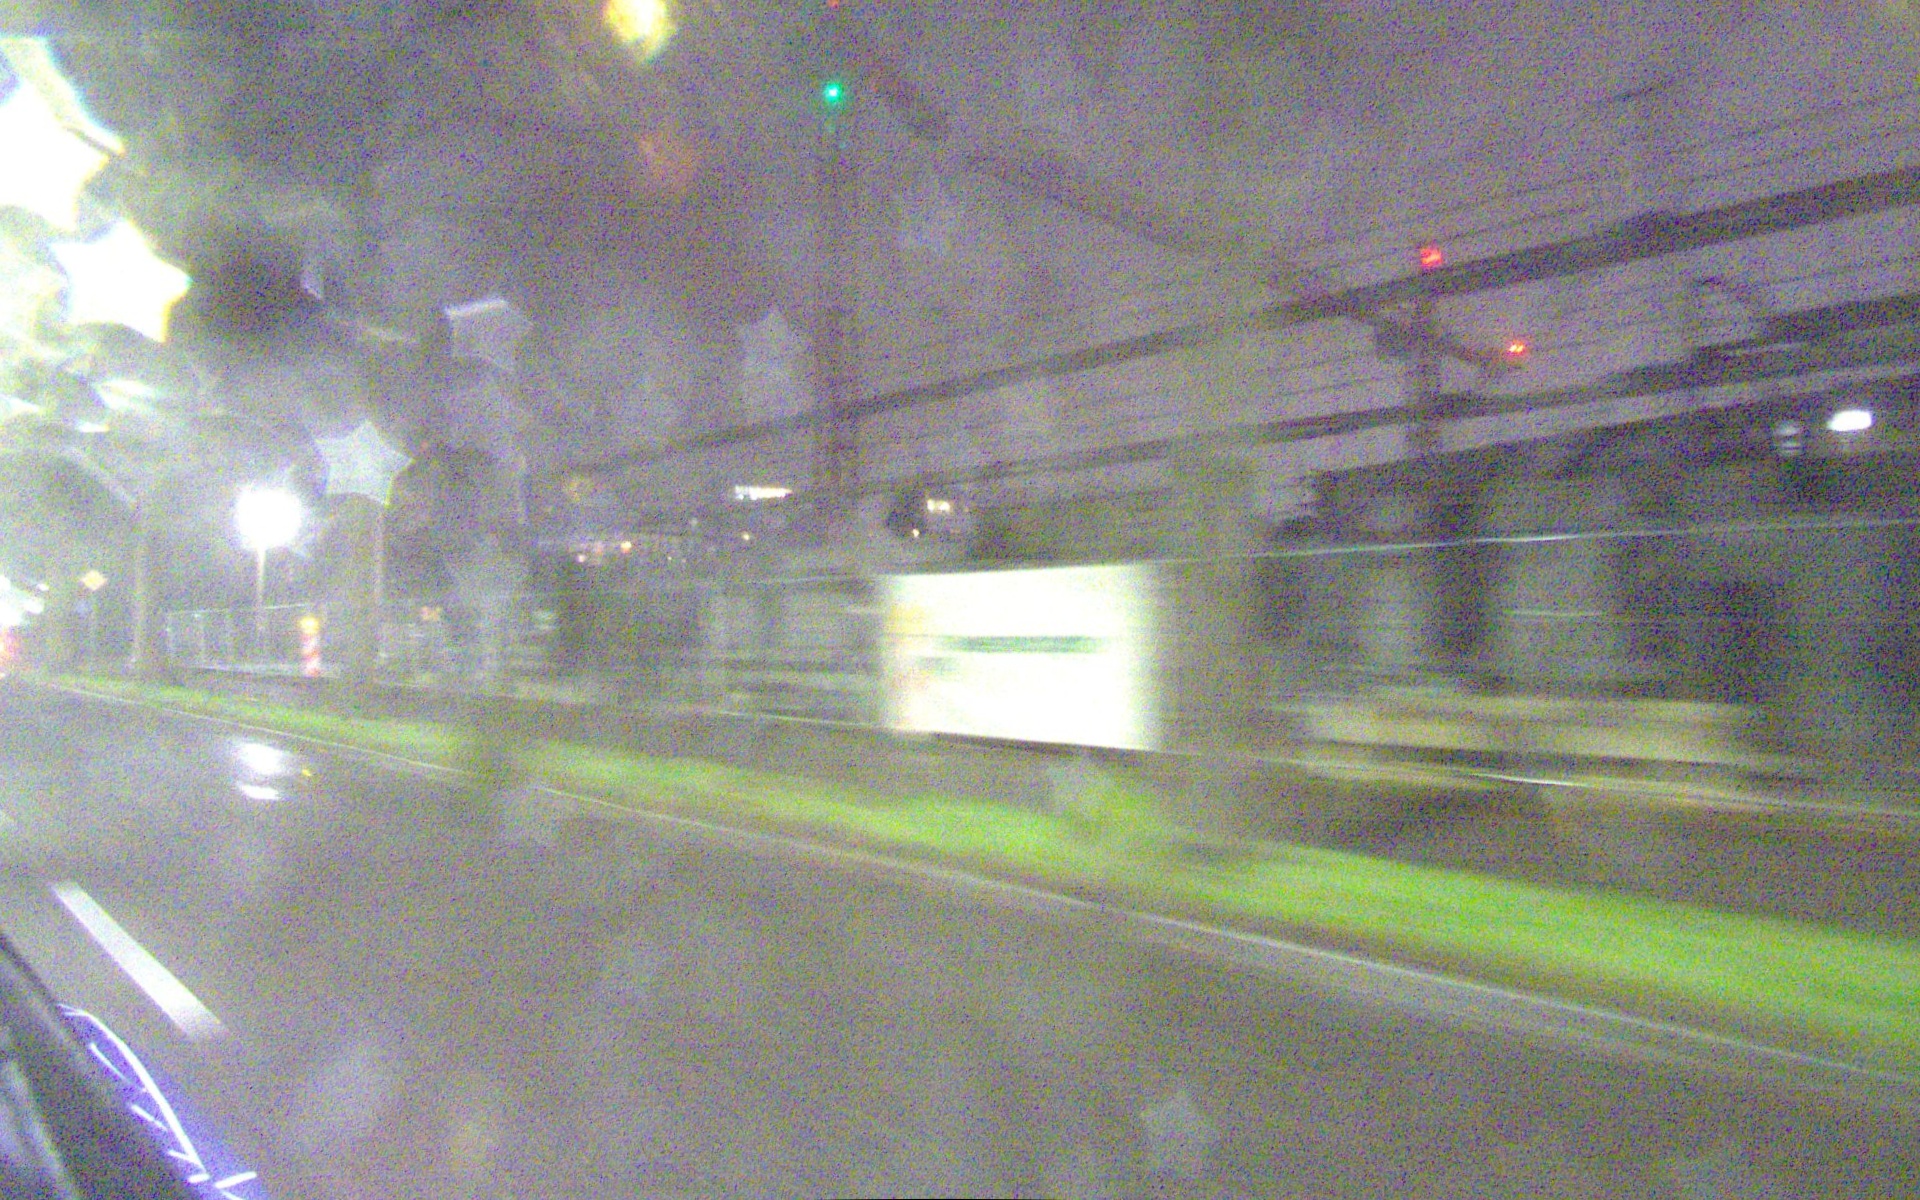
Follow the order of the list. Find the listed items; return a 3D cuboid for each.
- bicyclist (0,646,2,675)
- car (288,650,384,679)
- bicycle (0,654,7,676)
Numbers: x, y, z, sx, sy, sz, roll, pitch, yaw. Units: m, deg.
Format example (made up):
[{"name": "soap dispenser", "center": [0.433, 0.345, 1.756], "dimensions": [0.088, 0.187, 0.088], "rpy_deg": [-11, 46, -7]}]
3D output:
[{"name": "bicyclist", "center": [-54.595, 3.455, 57.159], "dimensions": [0.959, 1.607, 0.630], "rpy_deg": [-6, -4, 40]}, {"name": "car", "center": [-32.837, 3.387, 53.324], "dimensions": [4.028, 1.381, 1.495], "rpy_deg": [4, -1, -44]}, {"name": "bicycle", "center": [-54.384, 3.672, 57.060], "dimensions": [2.312, 1.170, 0.623], "rpy_deg": [-1, -3, 40]}]
